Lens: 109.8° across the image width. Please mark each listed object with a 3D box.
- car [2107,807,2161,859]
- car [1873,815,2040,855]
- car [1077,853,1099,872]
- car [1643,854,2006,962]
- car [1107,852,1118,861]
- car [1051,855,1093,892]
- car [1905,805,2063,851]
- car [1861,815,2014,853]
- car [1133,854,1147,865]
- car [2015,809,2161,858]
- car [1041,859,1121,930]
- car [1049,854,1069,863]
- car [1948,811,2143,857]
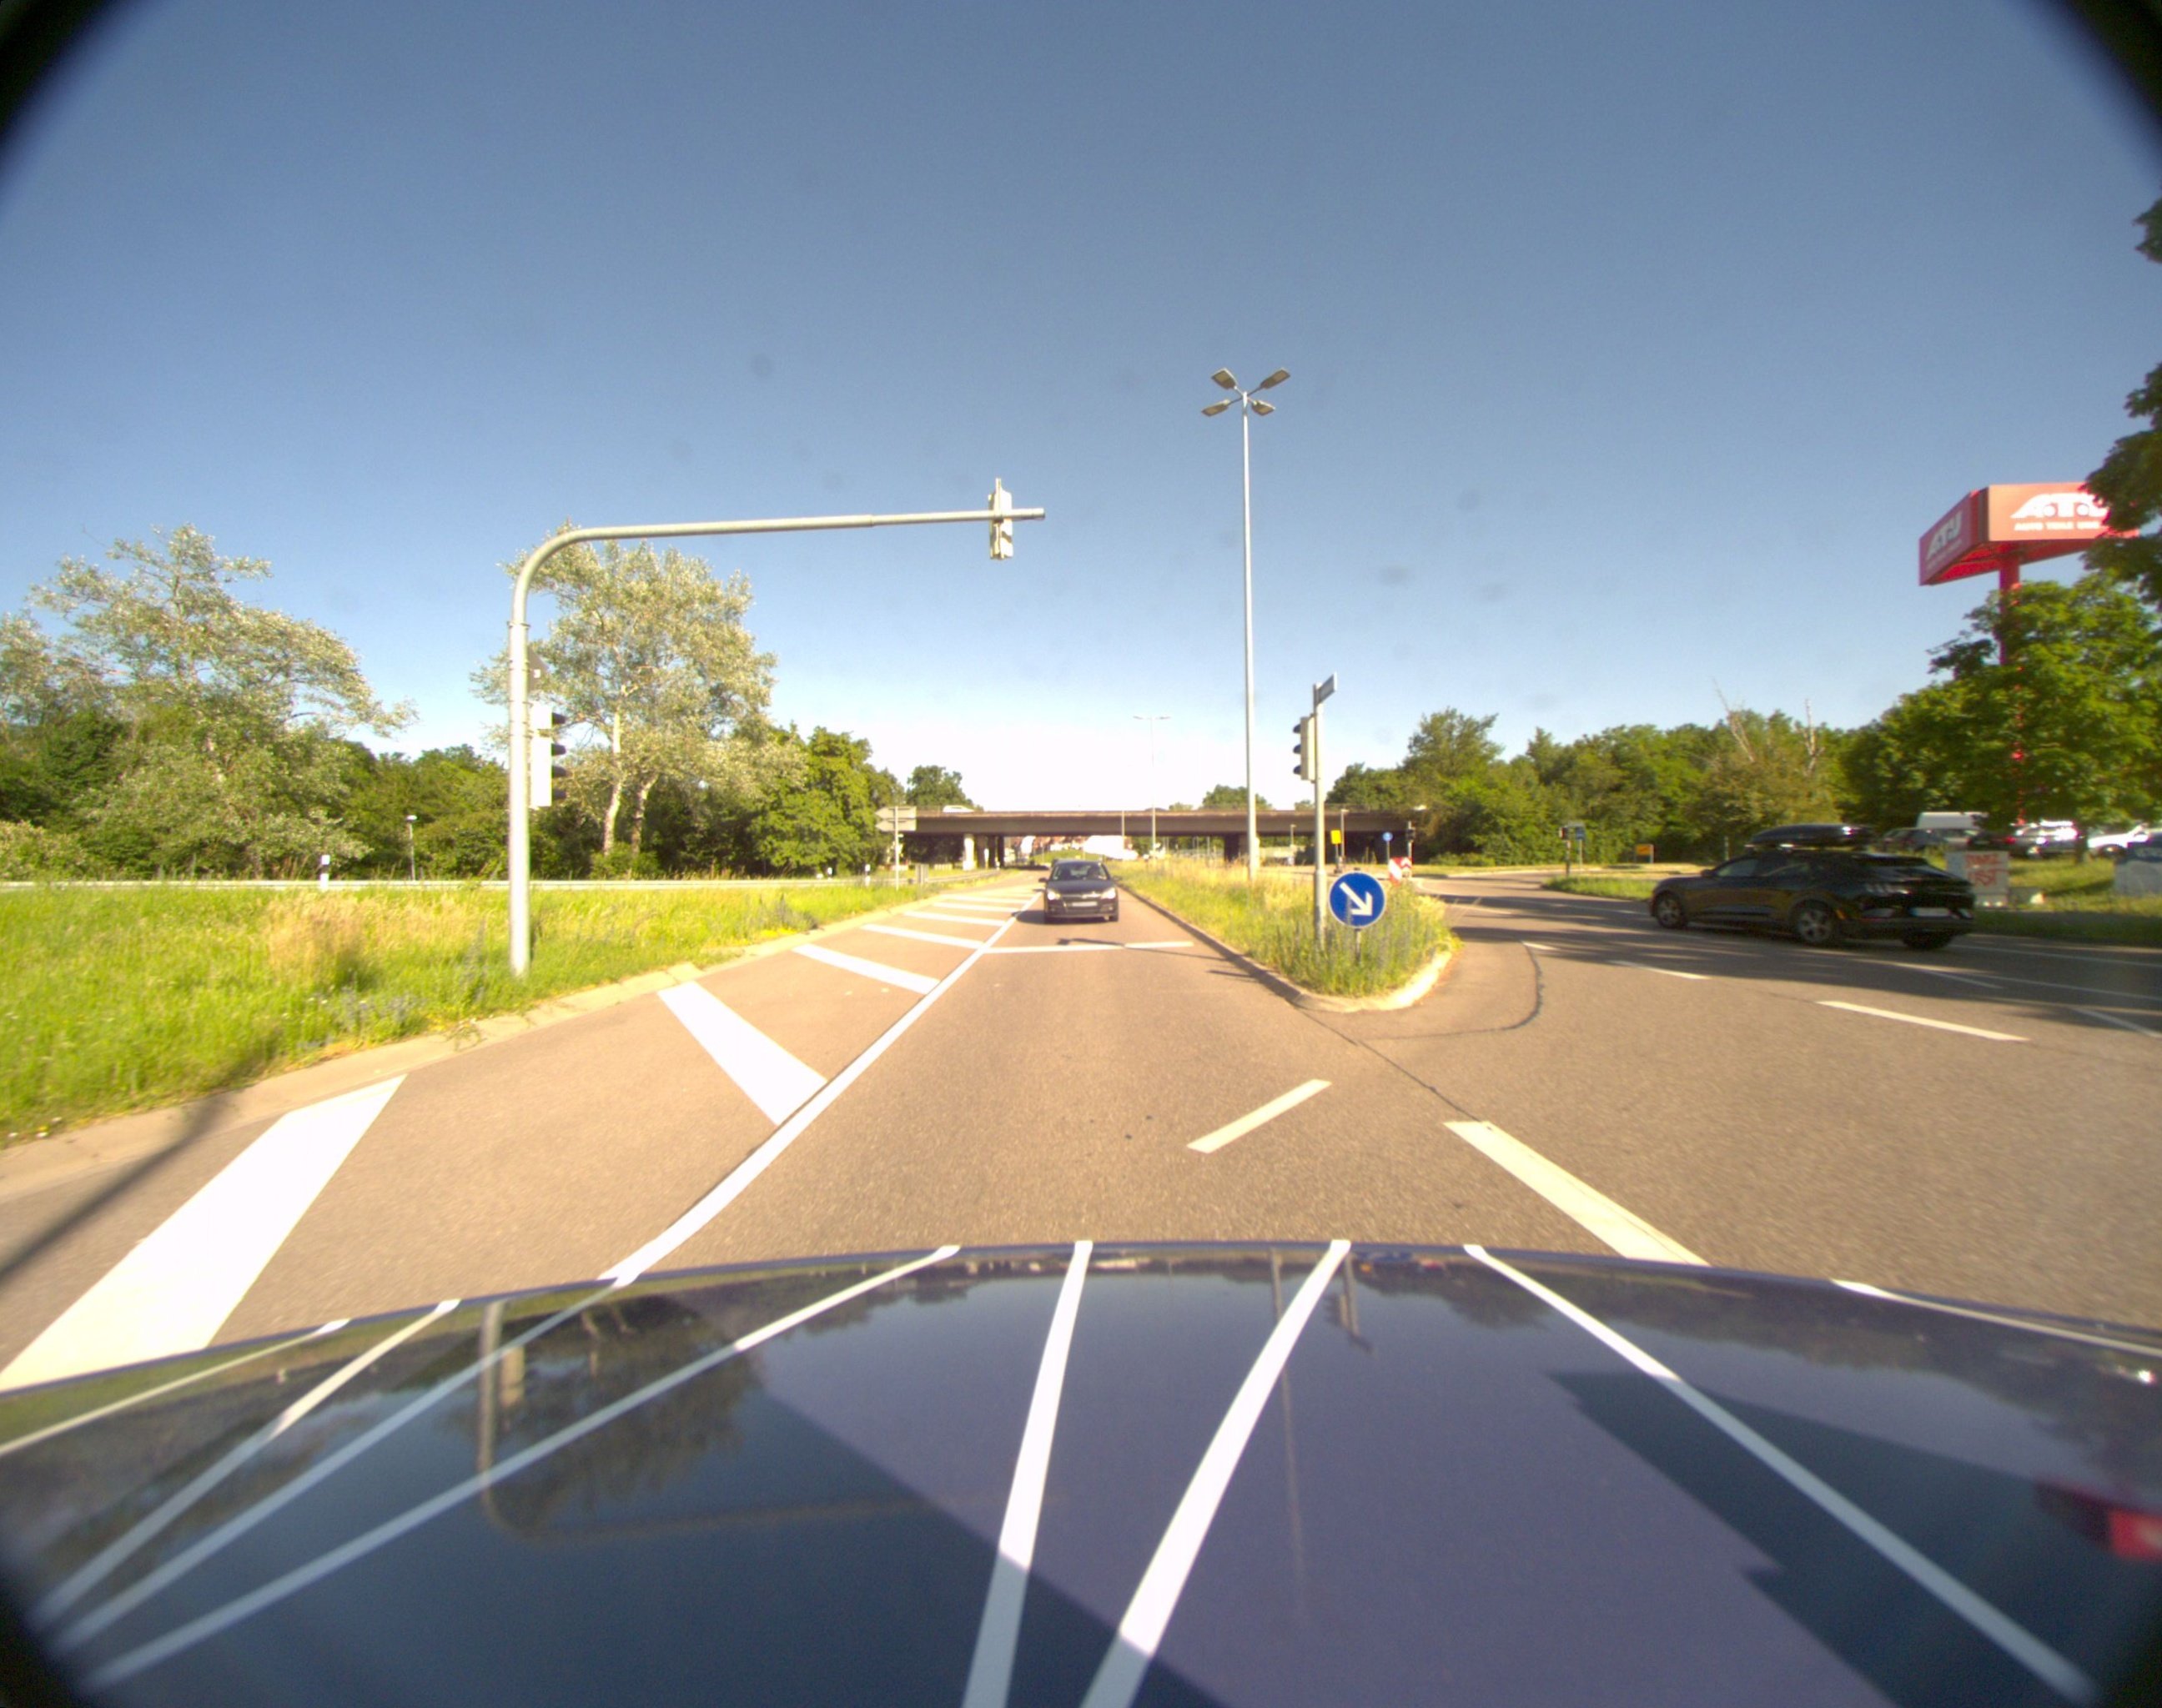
[{"bbox_3d":[34.263,-0.652,22.838,4.127,1.542,1.819,-1,0,5],"label":"car"},{"bbox_3d":[35.971,-0.754,31.369,4.122,1.542,1.898,-1,0,22],"label":"car"},{"bbox_3d":[0.584,0.730,64.582,1.827,1.528,4.042,-1,0,0],"label":"car"},{"bbox_3d":[12.526,0.786,13.359,1.881,1.534,4.572,1,0,0],"label":"car"},{"bbox_3d":[5.714,0.473,139.504,1.637,1.521,3.591,-1,0,-4],"label":"car"},{"bbox_3d":[-0.394,0.870,35.119,1.827,1.528,4.041,-1,0,0],"label":"car"},{"bbox_3d":[46.524,-1.269,39.280,1.899,2.139,5.034,-1,0,-32],"label":"car"},{"bbox_3d":[37.820,-0.852,33.707,4.120,1.542,1.899,-1,0,31],"label":"car"},{"bbox_3d":[8.089,0.773,104.090,1.637,1.436,4.103,-1,0,0],"label":"car"},{"bbox_3d":[34.453,-0.661,25.213,4.125,1.542,1.897,-1,0,11],"label":"car"},{"bbox_3d":[0.066,0.904,18.631,1.706,1.446,3.959,-3,0,2],"label":"car"},{"bbox_3d":[-3.701,0.777,127.966,1.831,1.528,4.034,-1,0,-25],"label":"car"},{"bbox_3d":[34.884,-0.706,27.623,4.124,1.542,1.897,-1,0,12],"label":"car"}]
